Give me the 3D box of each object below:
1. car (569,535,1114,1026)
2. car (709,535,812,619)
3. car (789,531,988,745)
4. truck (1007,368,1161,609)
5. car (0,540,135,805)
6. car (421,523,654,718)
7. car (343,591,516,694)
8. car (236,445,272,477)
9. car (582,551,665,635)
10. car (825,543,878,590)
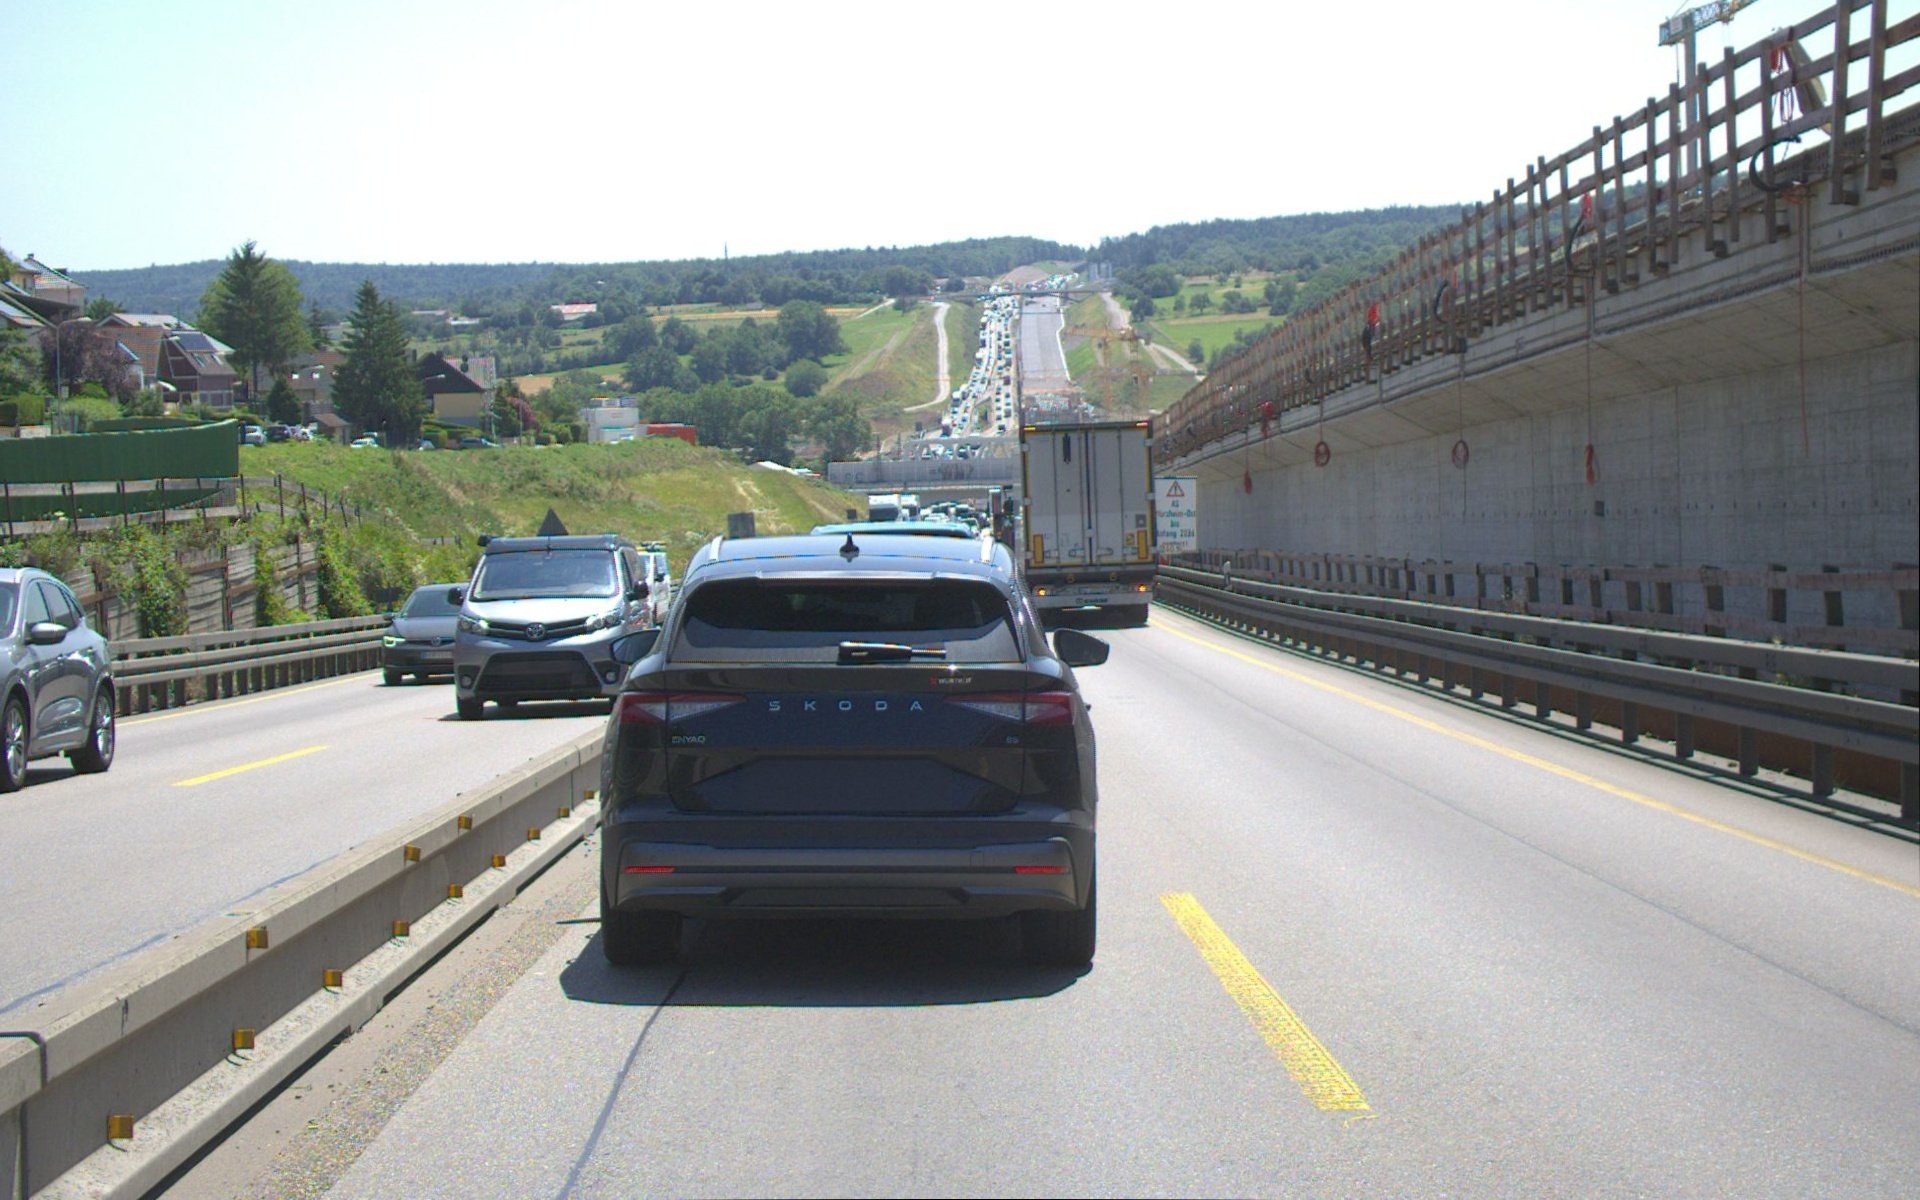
[{"bbox_3d":[-0.424,0.588,13.512,1.782,1.592,3.755,-2,1,-1],"label":"car"},{"bbox_3d":[-4.663,-0.527,81.018,2.157,1.900,5.326,-1,0,-1],"label":"car"},{"bbox_3d":[-0.690,0.315,32.144,1.749,1.889,3.755,0,1,-2],"label":"car"},{"bbox_3d":[2.480,-2.170,72.400,2.846,4.599,11.811,-1,0,1],"label":"truck"},{"bbox_3d":[-7.644,0.517,25.519,1.993,1.821,4.509,-2,0,-1],"label":"car"},{"bbox_3d":[-4.675,0.211,38.724,1.993,2.007,4.969,-1,0,0],"label":"car"},{"bbox_3d":[-7.939,0.607,51.805,1.993,1.437,4.364,1,0,-1],"label":"car"},{"bbox_3d":[-42.058,-8.253,204.924,1.924,1.722,4.001,-2,1,-10],"label":"car"},{"bbox_3d":[-8.004,-0.198,82.169,1.825,1.919,5.244,-1,1,-4],"label":"car"},{"bbox_3d":[-3.859,-1.203,123.107,1.774,1.628,4.100,-1,1,-1],"label":"car"}]
